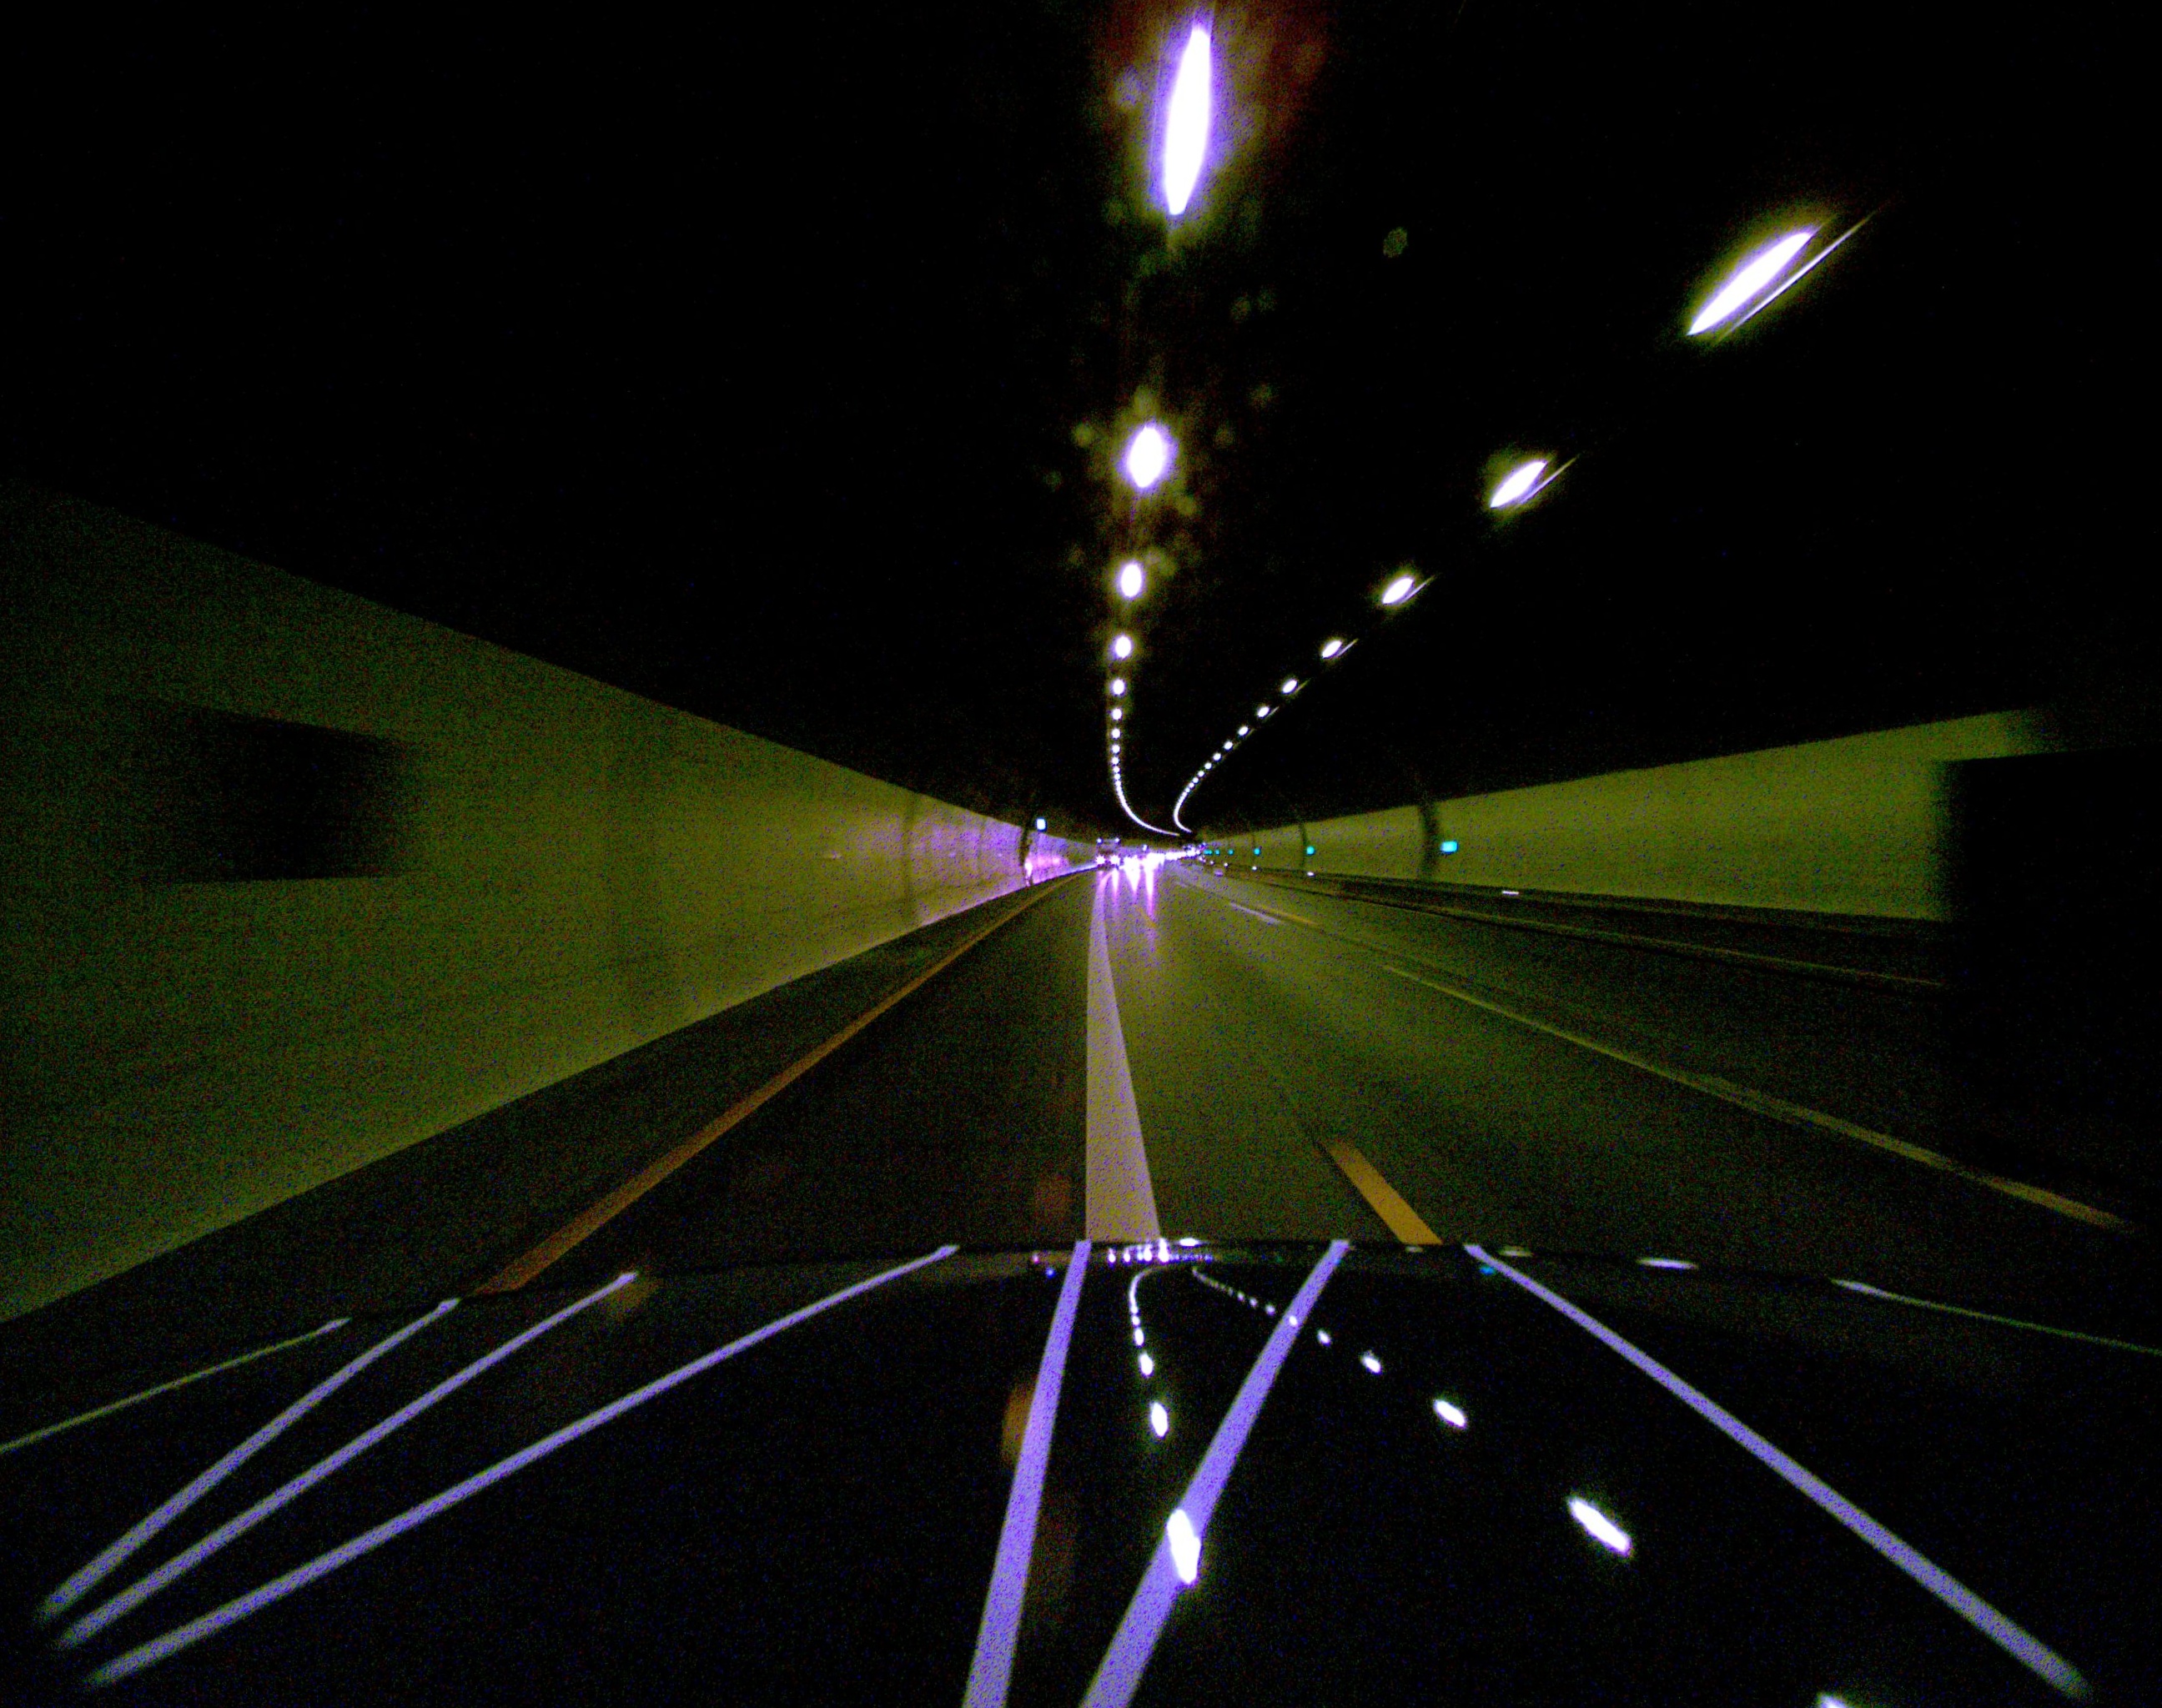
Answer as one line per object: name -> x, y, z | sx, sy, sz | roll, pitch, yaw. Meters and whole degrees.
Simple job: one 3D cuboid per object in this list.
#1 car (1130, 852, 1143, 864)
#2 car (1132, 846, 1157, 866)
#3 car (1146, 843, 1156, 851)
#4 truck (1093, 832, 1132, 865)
car -> 9.653, 0.666, 131.579 | 1.997, 2.002, 4.002 | -2, 0, 8
car -> 5.837, 0.154, 69.848 | 2.171, 1.709, 4.482 | -2, 0, 5
car -> 16.518, -1.635, 178.673 | 1.997, 1.917, 4.387 | -2, 0, 8
truck -> 3.502, -0.589, 81.712 | 2.987, 3.161, 10.514 | -2, 0, 8
